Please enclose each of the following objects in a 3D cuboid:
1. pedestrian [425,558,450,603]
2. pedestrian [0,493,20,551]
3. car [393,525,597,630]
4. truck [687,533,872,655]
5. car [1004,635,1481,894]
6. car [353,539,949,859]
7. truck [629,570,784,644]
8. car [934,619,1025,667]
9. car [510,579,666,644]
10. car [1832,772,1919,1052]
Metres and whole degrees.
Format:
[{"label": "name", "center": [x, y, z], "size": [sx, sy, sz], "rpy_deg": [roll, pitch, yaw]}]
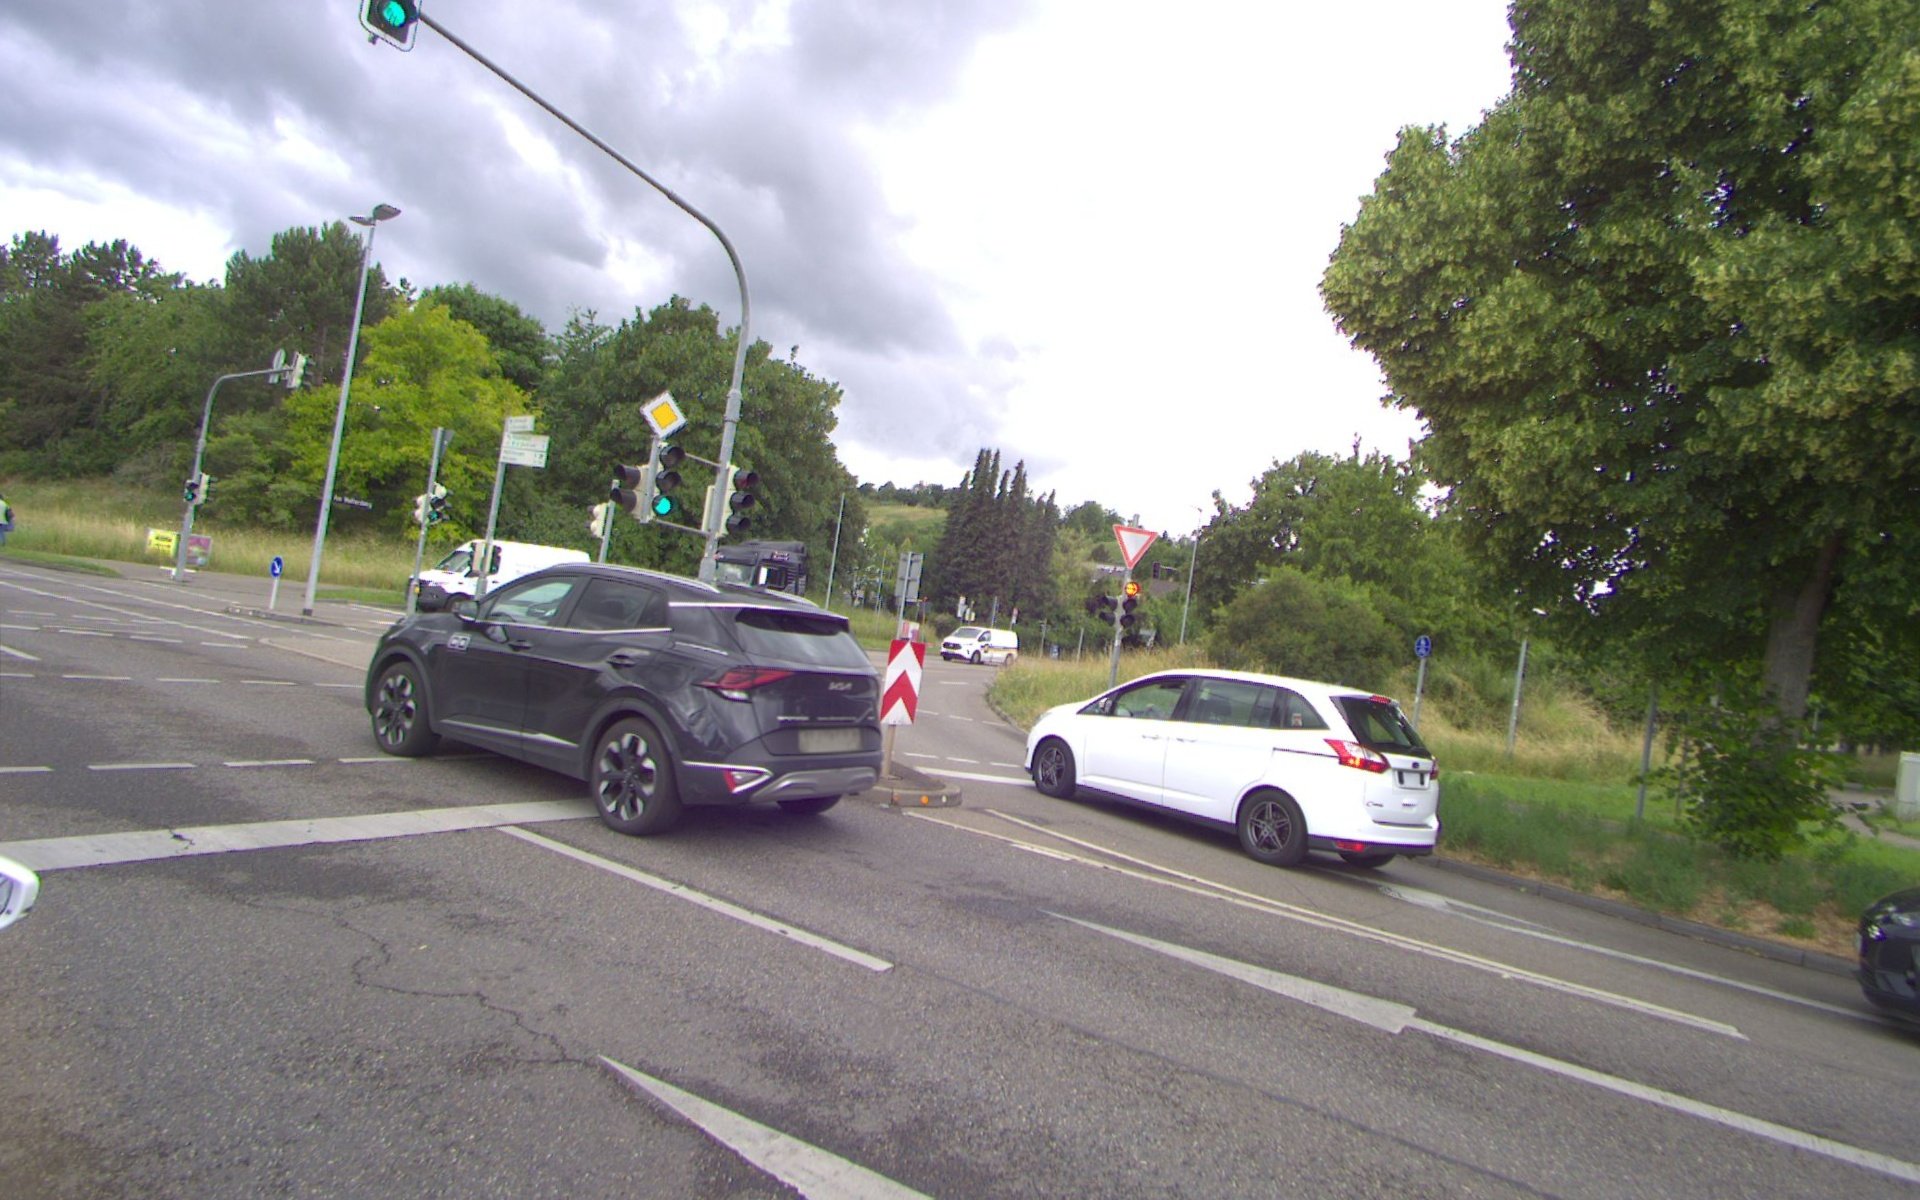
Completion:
[{"label": "pedestrian", "center": [-19.905, -0.733, 38.325], "size": [0.638, 1.630, 0.709], "rpy_deg": [7, -1, -25]}, {"label": "pedestrian", "center": [-29.029, -2.378, 30.411], "size": [0.703, 1.681, 0.644], "rpy_deg": [6, -1, 39]}, {"label": "car", "center": [-15.328, -0.664, 33.578], "size": [1.968, 2.660, 5.814], "rpy_deg": [6, -2, 34]}, {"label": "truck", "center": [-6.174, -0.101, 35.310], "size": [2.648, 3.527, 6.004], "rpy_deg": [6, -1, 34]}, {"label": "car", "center": [2.589, 1.476, 10.198], "size": [1.751, 1.674, 4.325], "rpy_deg": [9, -2, -37]}, {"label": "car", "center": [-2.382, 0.572, 7.450], "size": [4.149, 1.547, 1.797], "rpy_deg": [6, -2, 32]}, {"label": "truck", "center": [-10.216, 0.351, 41.093], "size": [2.128, 2.255, 6.028], "rpy_deg": [6, -2, 35]}, {"label": "car", "center": [1.091, 2.274, 52.873], "size": [1.971, 1.927, 4.945], "rpy_deg": [6, -3, 39]}, {"label": "car", "center": [-10.583, 0.368, 28.860], "size": [1.669, 1.353, 3.882], "rpy_deg": [6, -3, 34]}, {"label": "car", "center": [7.125, 2.025, 5.370], "size": [3.511, 1.521, 1.605], "rpy_deg": [6, -5, 38]}]
